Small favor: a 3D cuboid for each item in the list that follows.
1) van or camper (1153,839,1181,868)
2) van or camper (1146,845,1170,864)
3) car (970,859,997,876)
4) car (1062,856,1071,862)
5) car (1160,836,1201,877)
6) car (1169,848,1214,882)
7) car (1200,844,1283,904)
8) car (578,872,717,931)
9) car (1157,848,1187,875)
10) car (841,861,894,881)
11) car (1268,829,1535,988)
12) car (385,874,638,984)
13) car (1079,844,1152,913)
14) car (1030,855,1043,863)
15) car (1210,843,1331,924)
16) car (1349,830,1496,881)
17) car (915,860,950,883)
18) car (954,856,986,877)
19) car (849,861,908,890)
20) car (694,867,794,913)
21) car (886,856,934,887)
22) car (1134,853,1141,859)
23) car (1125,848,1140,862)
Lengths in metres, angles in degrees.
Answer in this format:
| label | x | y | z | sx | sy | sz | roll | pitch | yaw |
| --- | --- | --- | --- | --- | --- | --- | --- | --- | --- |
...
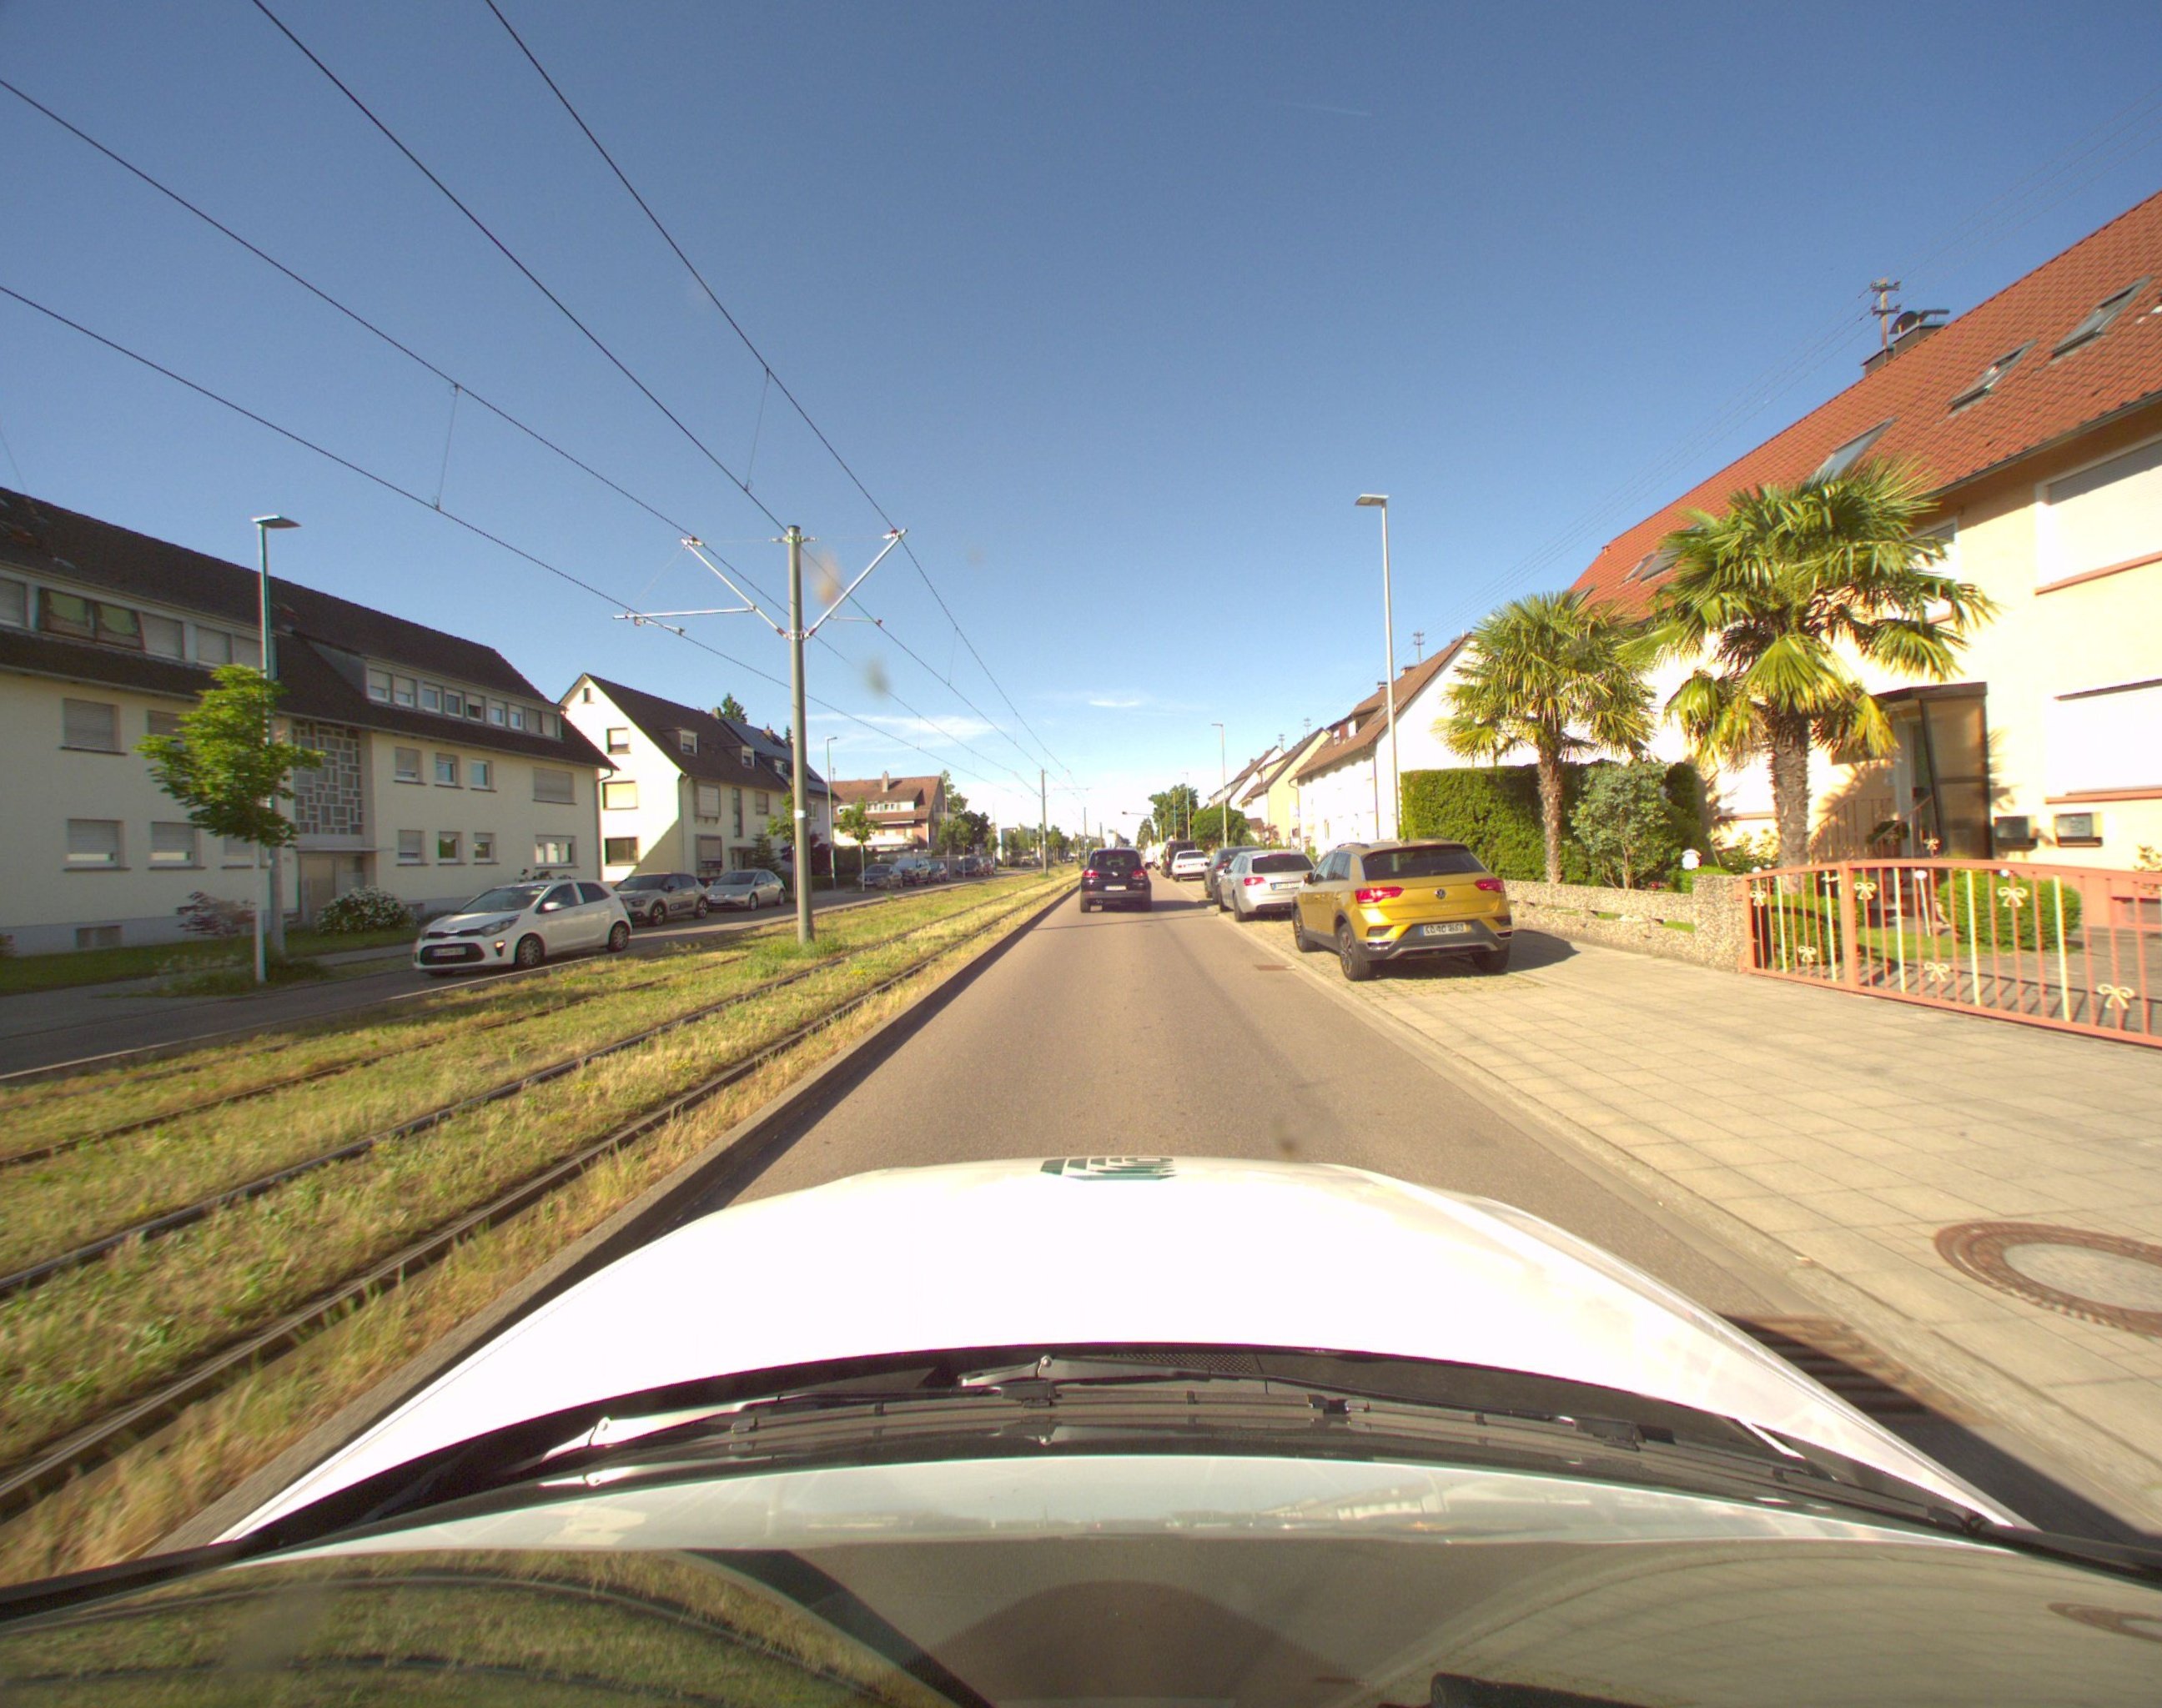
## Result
| label | x | y | z | sx | sy | sz | roll | pitch | yaw |
| --- | --- | --- | --- | --- | --- | --- | --- | --- | --- |
| van or camper | 7.335 | -0.048 | 70.042 | 1.985 | 2.271 | 6.311 | -4 | 0 | 4 |
| van or camper | 8.584 | 0.010 | 90.882 | 2.014 | 1.956 | 5.312 | -3 | 0 | 12 |
| car | -9.174 | 1.252 | 77.153 | 1.687 | 1.405 | 4.083 | -3 | 0 | 4 |
| car | -3.930 | 1.299 | 220.530 | 1.680 | 1.389 | 4.394 | -4 | 0 | 5 |
| car | 5.749 | 0.133 | 47.585 | 1.951 | 2.144 | 5.340 | -3 | 0 | 3 |
| car | 5.470 | 0.492 | 40.927 | 1.844 | 1.443 | 5.621 | -4 | 0 | 5 |
| car | 4.566 | 0.521 | 23.828 | 1.769 | 1.498 | 4.733 | -3 | 0 | 4 |
| car | -12.599 | 1.324 | 24.006 | 1.682 | 1.472 | 4.316 | -1 | 0 | 2 |
| car | 6.157 | 0.500 | 55.227 | 1.718 | 1.645 | 4.322 | -3 | 0 | 3 |
| car | -16.472 | 1.295 | 62.977 | 3.622 | 1.461 | 1.691 | -1 | 0 | -2 |
| car | 3.921 | 0.578 | 10.994 | 1.798 | 1.559 | 4.930 | -3 | 0 | 3 |
| car | -9.704 | 1.193 | 14.282 | 1.682 | 1.475 | 3.681 | -4 | 0 | 2 |
| car | 0.906 | 0.607 | 22.052 | 1.769 | 1.670 | 4.002 | -1 | 0 | 2 |
| car | -8.550 | 1.025 | 157.279 | 1.800 | 1.461 | 4.327 | -1 | 0 | 8 |
| car | 4.078 | 0.550 | 18.253 | 1.741 | 1.447 | 4.702 | -3 | 1 | 2 |
| car | 12.361 | 0.064 | 29.715 | 4.400 | 1.655 | 2.196 | -2 | 0 | 0 |
| car | -10.596 | 1.221 | 58.265 | 1.670 | 1.491 | 4.051 | -1 | 0 | 1 |
| car | -9.637 | 1.044 | 71.152 | 1.811 | 1.684 | 4.851 | -1 | 0 | 4 |
| car | -11.400 | 1.176 | 46.145 | 1.952 | 1.540 | 4.561 | -1 | 0 | 3 |
| car | -12.290 | 1.266 | 30.000 | 1.682 | 1.475 | 4.444 | -1 | 0 | 2 |
| car | -10.867 | 1.071 | 52.205 | 1.737 | 1.823 | 4.846 | -1 | 0 | 4 |
| car | 16.273 | 0.589 | 233.867 | 1.769 | 1.670 | 4.002 | -2 | 0 | 2 |
| car | 7.193 | 0.134 | 113.696 | 1.623 | 1.828 | 4.129 | -3 | 0 | -1 |
